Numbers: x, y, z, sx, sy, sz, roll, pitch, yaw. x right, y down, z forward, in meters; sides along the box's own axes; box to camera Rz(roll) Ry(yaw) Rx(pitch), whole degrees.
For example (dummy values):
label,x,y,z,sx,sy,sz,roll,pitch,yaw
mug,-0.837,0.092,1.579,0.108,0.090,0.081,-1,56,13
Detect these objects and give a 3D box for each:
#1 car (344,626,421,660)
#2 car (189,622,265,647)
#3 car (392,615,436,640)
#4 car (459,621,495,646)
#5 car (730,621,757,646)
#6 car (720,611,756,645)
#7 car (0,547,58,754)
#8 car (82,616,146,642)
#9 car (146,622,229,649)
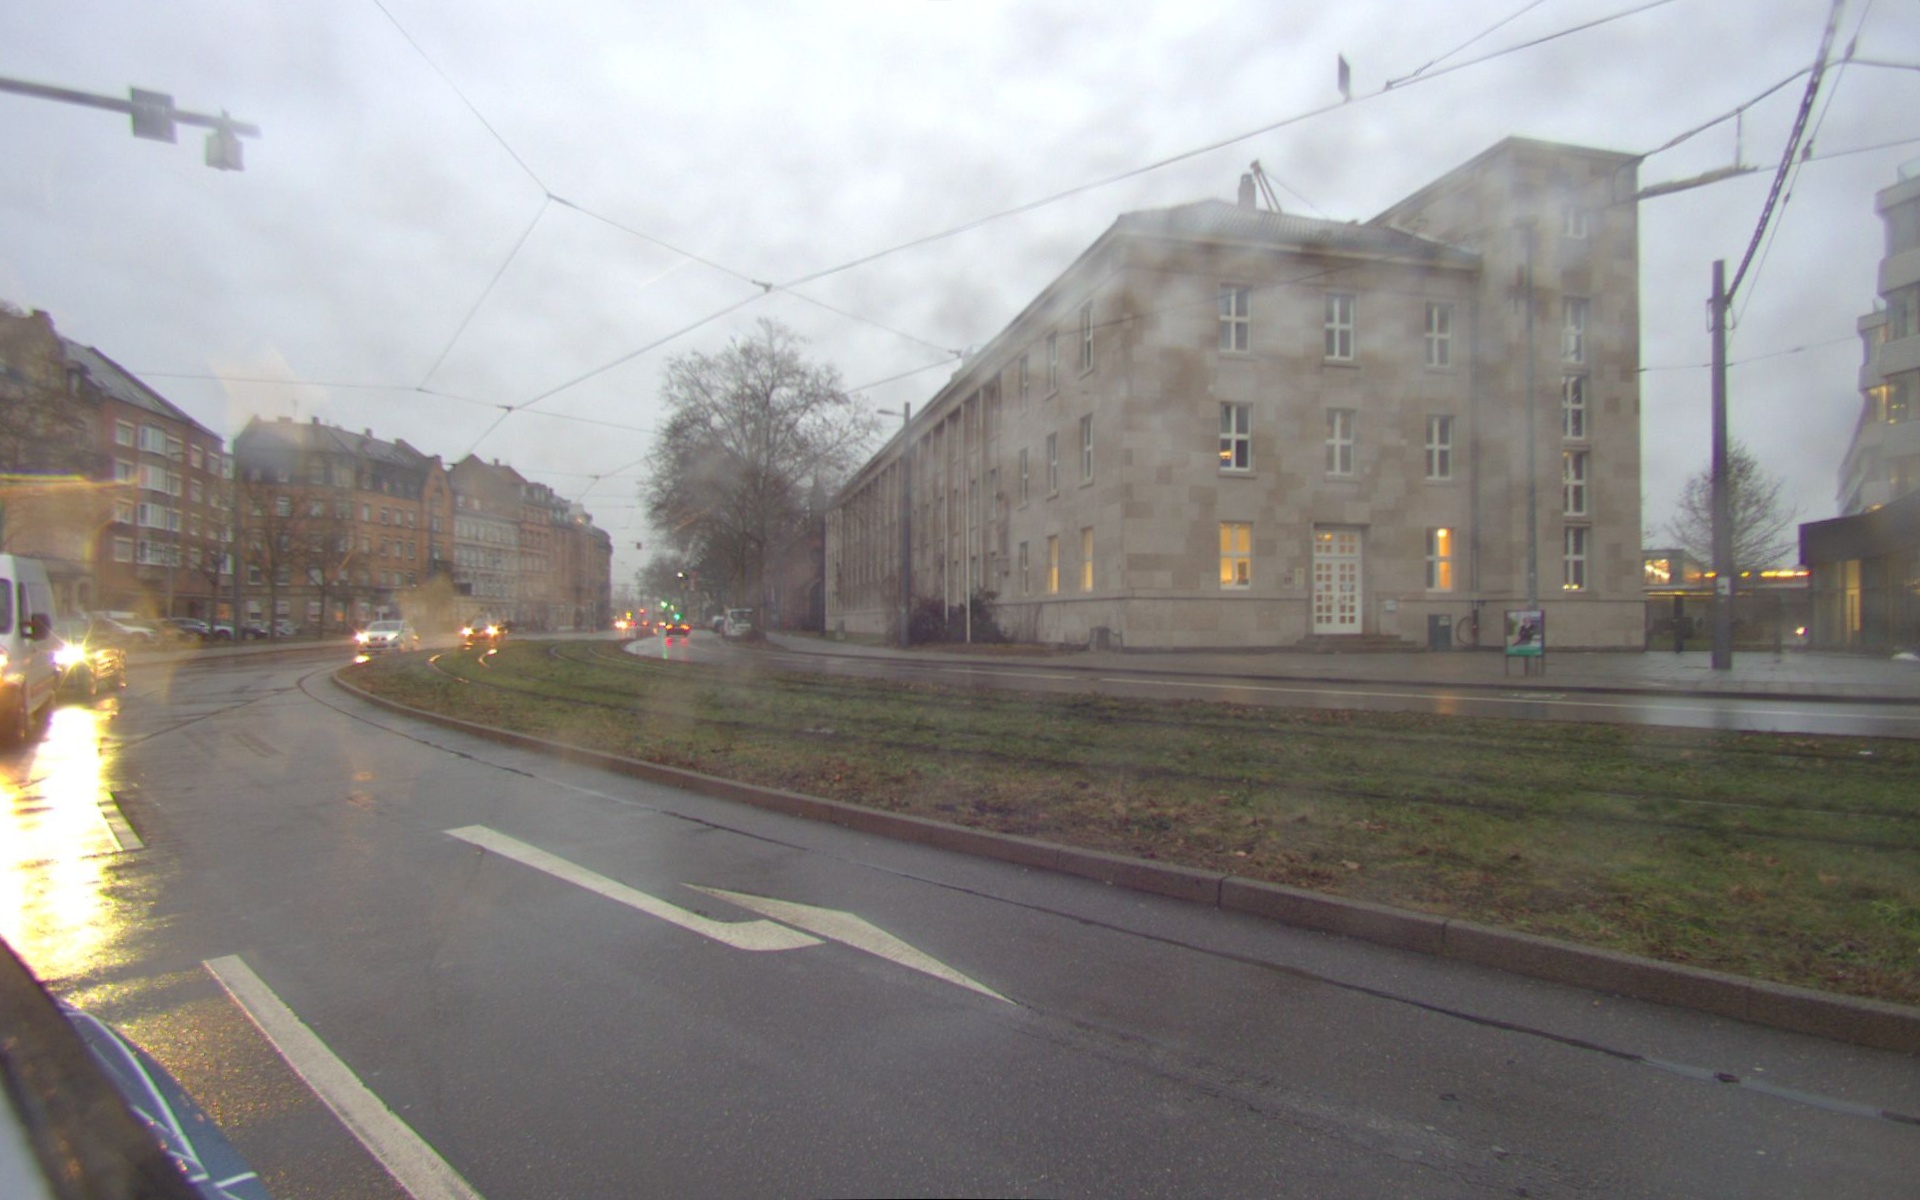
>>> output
label,x,y,z,sx,sy,sz,roll,pitch,yaw
car,-25.394,1.875,44.664,1.866,1.424,3.956,0,-2,-13
car,-44.649,2.084,61.668,3.706,1.364,1.605,-2,0,-39
car,-37.962,1.915,70.392,1.695,1.630,3.948,0,-2,-13
car,-30.590,2.116,64.133,1.809,1.497,3.533,0,-2,-22
car,-13.267,2.029,61.932,1.535,1.439,2.963,0,0,-14
car,-14.579,1.805,66.265,1.966,2.029,4.522,-2,0,-15
car,-13.590,0.649,13.372,2.096,2.398,5.650,0,-1,-38
car,-53.417,1.824,63.967,1.449,1.555,3.881,0,-2,-12
car,-43.949,1.992,57.642,3.706,1.364,1.605,-2,0,-39
